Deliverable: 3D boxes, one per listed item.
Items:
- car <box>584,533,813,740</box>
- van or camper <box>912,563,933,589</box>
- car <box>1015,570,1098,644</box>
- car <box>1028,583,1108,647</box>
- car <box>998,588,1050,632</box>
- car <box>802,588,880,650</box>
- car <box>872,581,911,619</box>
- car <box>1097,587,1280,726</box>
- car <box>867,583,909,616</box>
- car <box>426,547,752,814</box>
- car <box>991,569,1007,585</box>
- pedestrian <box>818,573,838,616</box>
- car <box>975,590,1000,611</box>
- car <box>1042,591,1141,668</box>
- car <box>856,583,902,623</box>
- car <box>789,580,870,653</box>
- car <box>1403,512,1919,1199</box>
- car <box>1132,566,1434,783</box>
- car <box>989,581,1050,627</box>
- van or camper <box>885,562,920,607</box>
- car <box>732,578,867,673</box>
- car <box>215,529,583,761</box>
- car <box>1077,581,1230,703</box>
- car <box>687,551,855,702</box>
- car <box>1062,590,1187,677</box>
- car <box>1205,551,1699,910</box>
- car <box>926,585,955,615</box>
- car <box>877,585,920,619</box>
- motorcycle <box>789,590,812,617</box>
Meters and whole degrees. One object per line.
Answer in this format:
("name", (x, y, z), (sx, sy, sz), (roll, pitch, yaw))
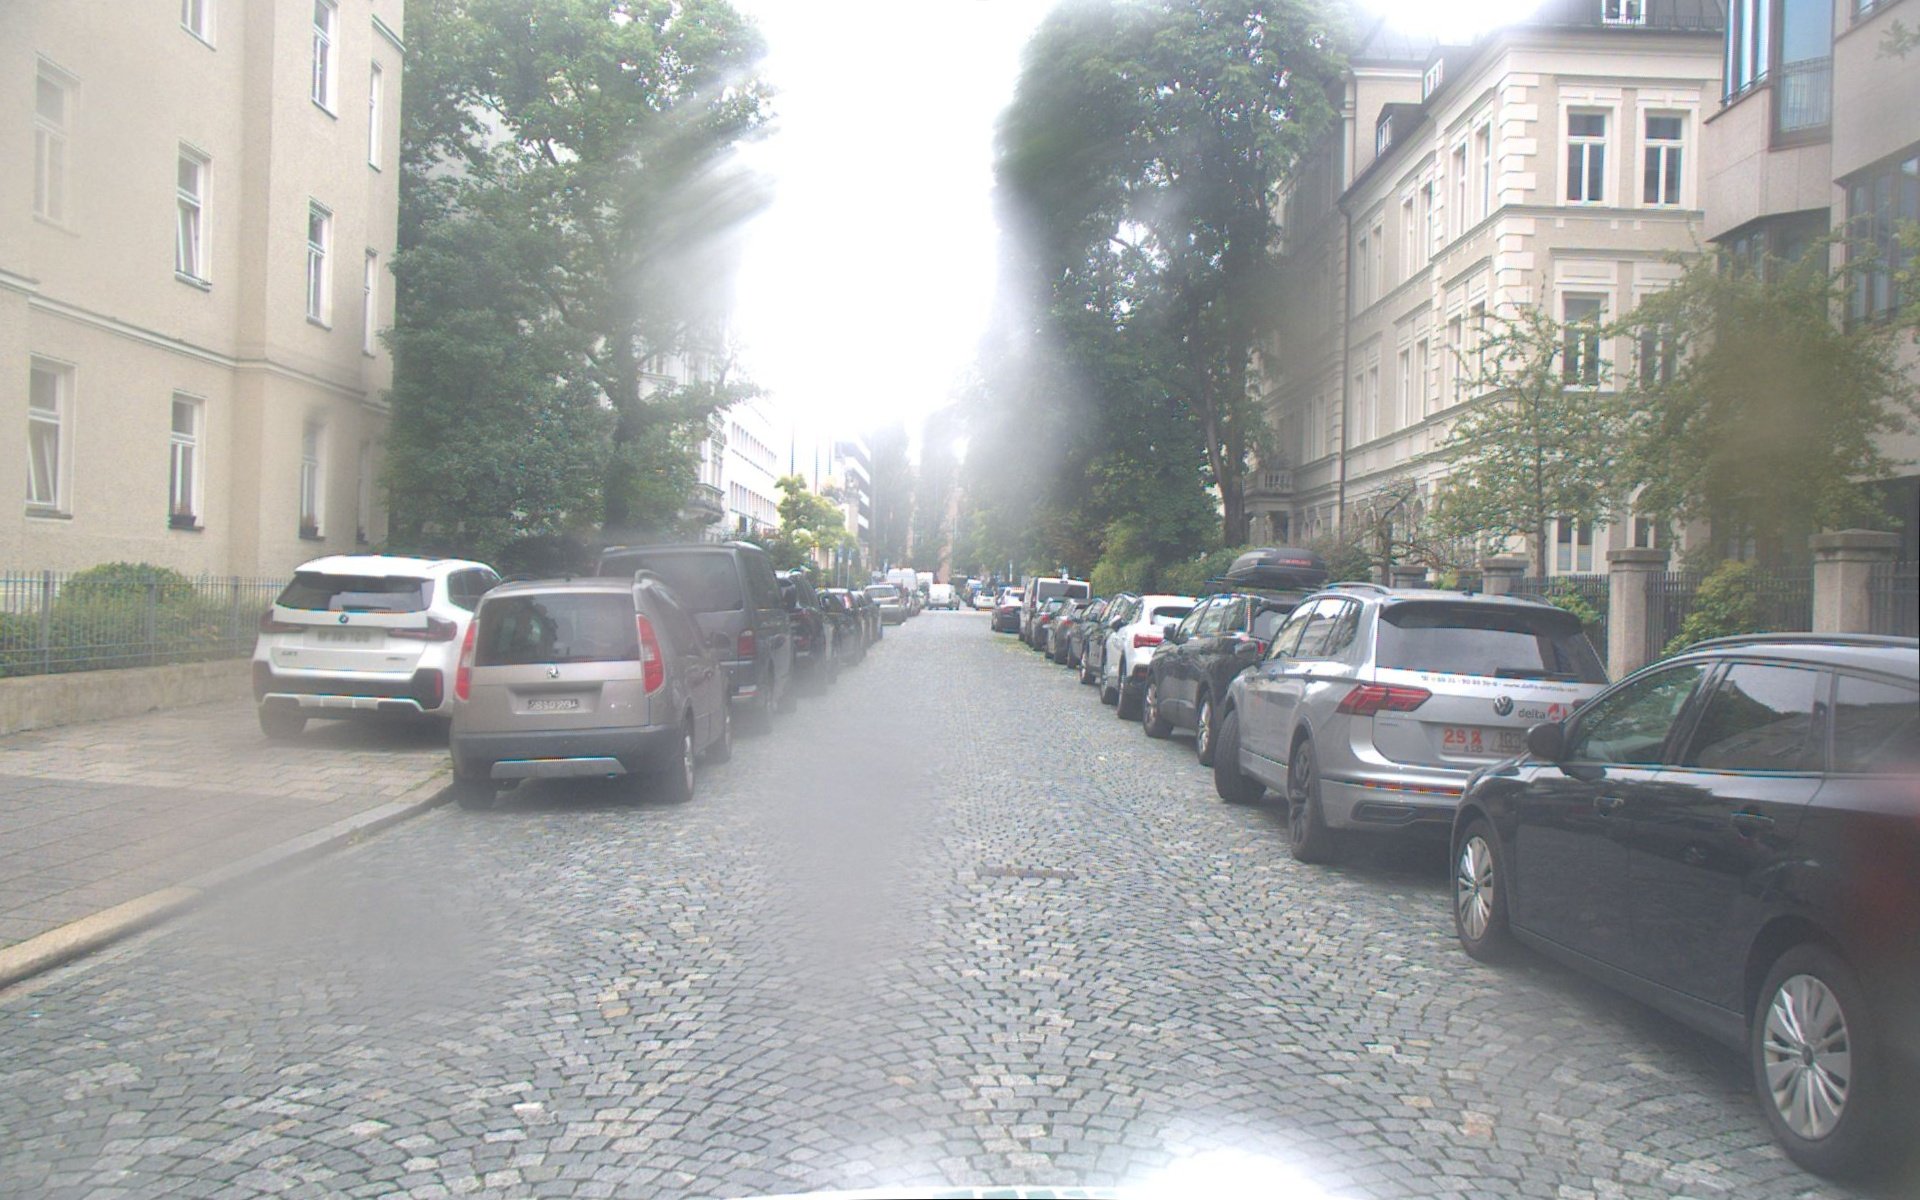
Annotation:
("car", (-2.715, 0.332, 18.272), (1.835, 1.950, 4.826), (-1, 0, -1))
("van or camper", (-4.191, -2.684, 186.806), (2.210, 2.790, 5.097), (2, 0, 0))
("car", (2.832, 0.178, 49.609), (1.836, 1.961, 5.162), (4, 0, -3))
("car", (2.836, 0.368, 44.125), (1.799, 1.516, 4.421), (4, 0, 0))
("car", (2.554, 0.375, 67.047), (1.781, 1.607, 4.207), (4, 0, -1))
("car", (-3.011, 0.454, 42.625), (1.747, 1.442, 4.495), (-2, 1, -2))
("car", (-3.361, -0.014, 81.824), (1.835, 1.807, 4.121), (-2, 0, -2))
("car", (2.916, 0.654, 22.050), (1.835, 1.516, 4.618), (4, 1, 1))
("car", (-3.279, -0.046, 75.554), (1.835, 1.476, 4.206), (0, 0, -3))
("car", (-2.788, 0.521, 13.427), (1.828, 1.765, 4.401), (-1, 1, -3))
("car", (5.320, -3.176, 226.370), (1.953, 2.049, 4.000), (2, 0, 0))
("pedestrian", (-6.202, -0.258, 77.821), (0.776, 1.951, 0.758), (2, 0, -1))
("car", (2.041, 0.018, 123.453), (1.753, 1.547, 4.000), (1, 0, 0))
("car", (2.878, 0.614, 37.030), (1.679, 1.498, 4.267), (4, 0, -2))
("car", (-3.397, 0.104, 69.388), (1.835, 1.607, 4.253), (-1, 0, -3))
("car", (-2.748, 0.330, 35.438), (1.629, 1.469, 4.169), (0, 0, -4))
("car", (3.249, 0.727, 5.957), (1.836, 1.764, 4.658), (5, 0, -1))
("car", (3.096, 0.637, 16.918), (1.836, 1.765, 4.745), (5, 0, -3))
("car", (2.179, 0.131, 61.800), (1.836, 1.529, 4.509), (4, 0, -3))
("van or camper", (-3.521, -0.957, 102.256), (1.953, 2.698, 4.000), (-1, 0, 0))
("car", (-2.847, 0.404, 30.410), (1.938, 1.588, 5.017), (0, 0, 1))
("car", (-5.113, 0.354, 15.850), (1.906, 1.765, 4.656), (4, 0, -1))
("car", (3.049, 0.610, 27.029), (1.835, 1.698, 4.657), (4, 0, 0))
("car", (-2.694, 0.338, 24.749), (1.953, 1.950, 5.176), (-2, 0, -1))
("car", (3.173, 0.607, 32.642), (1.661, 1.465, 4.058), (4, 0, -5))
("car", (2.929, 0.672, 11.072), (1.835, 1.765, 4.892), (3, 0, 1))
("car", (-1.410, -0.017, 120.052), (1.953, 2.049, 4.000), (1, 0, 0))
("car", (-3.203, 0.106, 87.317), (1.834, 1.607, 4.209), (3, 0, 3))
("motorcycle", (-7.453, 0.146, 77.469), (0.609, 1.217, 1.866), (2, 0, 8))
